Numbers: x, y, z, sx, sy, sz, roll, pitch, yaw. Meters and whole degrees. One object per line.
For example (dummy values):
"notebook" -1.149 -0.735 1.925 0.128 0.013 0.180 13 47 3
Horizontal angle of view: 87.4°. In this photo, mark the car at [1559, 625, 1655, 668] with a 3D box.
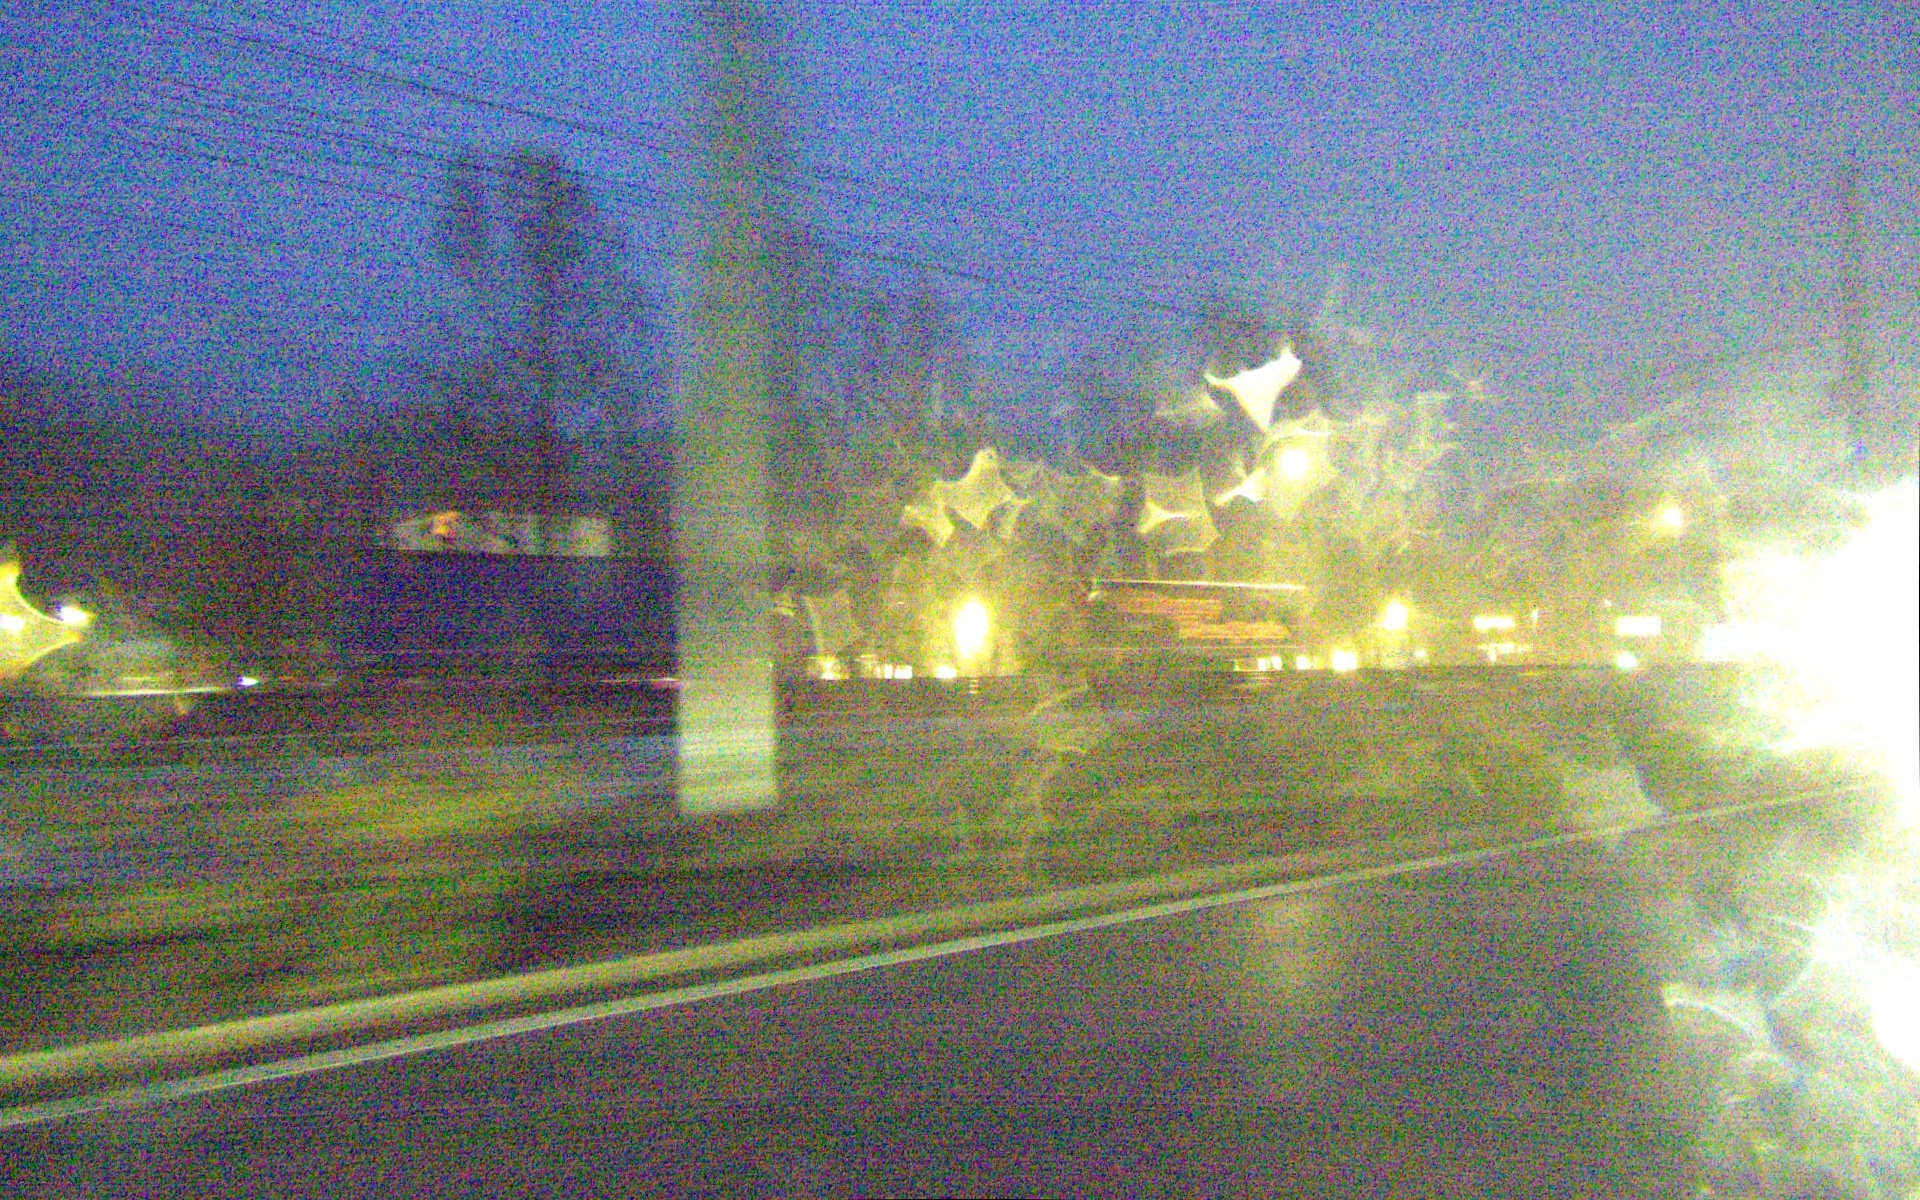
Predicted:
"car" 27.013 1.896 41.909 4.172 1.716 1.776 0 -1 -32

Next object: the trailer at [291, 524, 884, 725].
"trailer" -9.972 0.778 29.083 15.340 4.671 3.950 2 0 -32

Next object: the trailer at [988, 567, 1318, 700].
"trailer" 8.157 1.354 40.725 14.087 4.671 3.950 2 0 -31
